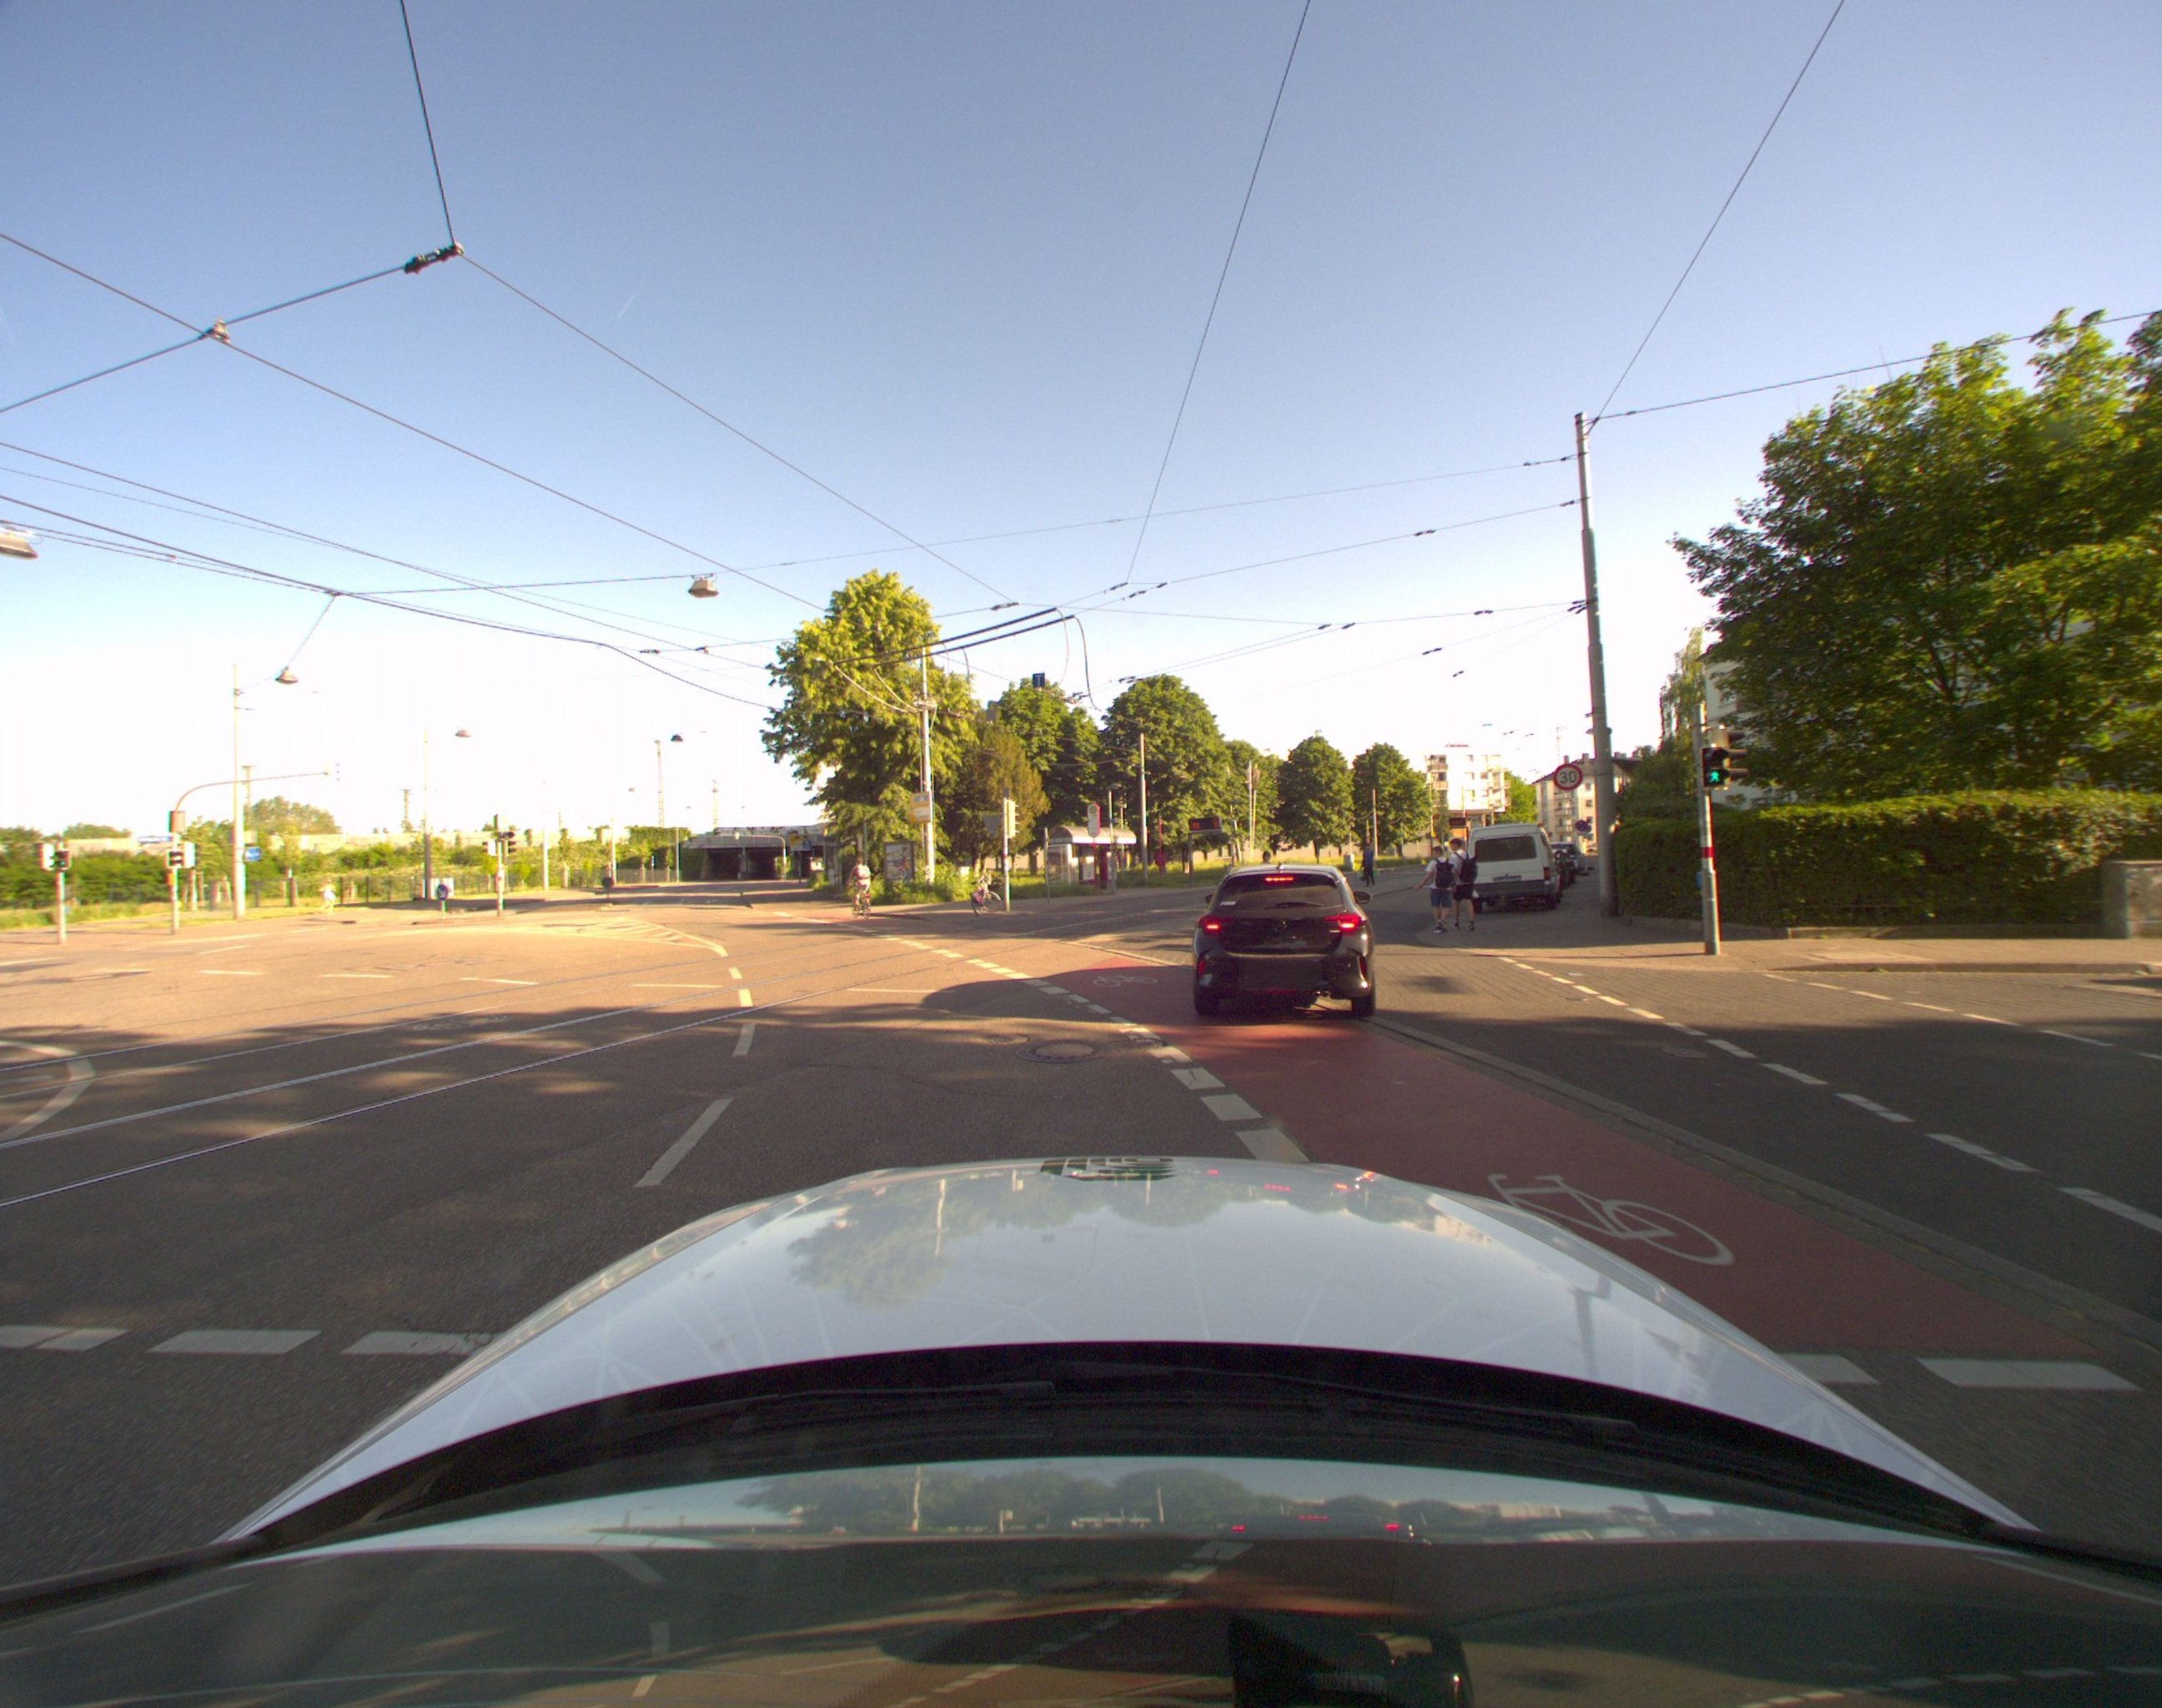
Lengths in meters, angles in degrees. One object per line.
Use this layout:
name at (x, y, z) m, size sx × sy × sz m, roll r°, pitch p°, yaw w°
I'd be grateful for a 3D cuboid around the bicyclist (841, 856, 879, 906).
bicyclist at (-6.913, 0.833, 25.447) m, size 0.845 × 1.510 × 1.356 m, roll -2°, pitch -1°, yaw -27°

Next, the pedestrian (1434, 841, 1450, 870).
pedestrian at (22.475, 0.079, 50.671) m, size 0.672 × 1.793 × 1.002 m, roll -2°, pitch -1°, yaw 34°

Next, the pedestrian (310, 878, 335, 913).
pedestrian at (-35.054, 1.897, 37.660) m, size 0.600 × 1.596 × 0.681 m, roll 0°, pitch -1°, yaw -17°

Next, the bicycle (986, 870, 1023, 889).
bicycle at (-4.087, 1.357, 43.494) m, size 1.863 × 0.906 × 0.662 m, roll -2°, pitch -1°, yaw 15°

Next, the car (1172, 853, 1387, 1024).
car at (2.225, 0.754, 9.060) m, size 1.787 × 1.441 × 3.956 m, roll -2°, pitch 0°, yaw 15°

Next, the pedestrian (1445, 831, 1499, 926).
pedestrian at (7.876, 0.487, 16.411) m, size 0.704 × 1.846 × 0.696 m, roll -2°, pitch -1°, yaw -42°

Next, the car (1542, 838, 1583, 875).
car at (27.031, 0.104, 45.663) m, size 1.783 × 1.927 × 3.965 m, roll -2°, pitch -1°, yaw 32°

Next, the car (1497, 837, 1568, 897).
car at (14.617, 0.377, 26.271) m, size 1.783 × 1.763 × 3.916 m, roll -2°, pitch 0°, yaw 31°

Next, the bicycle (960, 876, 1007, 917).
bicycle at (-2.855, 1.234, 24.038) m, size 0.820 × 1.059 × 1.888 m, roll -2°, pitch 0°, yaw 11°

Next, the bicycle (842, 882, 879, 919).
bicycle at (-6.878, 1.410, 25.345) m, size 0.671 × 1.059 × 2.063 m, roll -2°, pitch 0°, yaw -28°

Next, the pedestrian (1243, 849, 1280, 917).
pedestrian at (4.602, 0.724, 20.772) m, size 0.719 × 1.693 × 0.705 m, roll -2°, pitch -1°, yaw 25°

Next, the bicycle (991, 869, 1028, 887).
bicycle at (-3.880, 1.303, 44.449) m, size 1.863 × 0.906 × 0.662 m, roll -2°, pitch -1°, yaw 15°

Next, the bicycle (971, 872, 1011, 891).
bicycle at (-4.592, 1.415, 41.685) m, size 1.863 × 0.906 × 0.662 m, roll -2°, pitch -1°, yaw 15°

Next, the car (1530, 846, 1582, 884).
car at (20.408, 0.455, 35.057) m, size 1.783 × 1.476 × 3.964 m, roll -2°, pitch 0°, yaw 30°

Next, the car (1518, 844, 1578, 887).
car at (17.659, 0.416, 30.817) m, size 1.783 × 1.476 × 3.964 m, roll -2°, pitch 0°, yaw 30°

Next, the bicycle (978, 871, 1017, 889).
bicycle at (-4.358, 1.365, 42.650) m, size 1.863 × 0.906 × 0.662 m, roll -2°, pitch -1°, yaw 15°

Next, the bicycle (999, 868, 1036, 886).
bicycle at (-3.538, 1.288, 45.297) m, size 1.863 × 0.906 × 0.662 m, roll -2°, pitch -1°, yaw 15°

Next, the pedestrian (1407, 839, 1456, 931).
pedestrian at (7.054, 0.617, 16.406) m, size 0.694 × 1.792 × 0.619 m, roll -2°, pitch -1°, yaw 8°

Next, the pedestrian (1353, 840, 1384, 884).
pedestrian at (12.045, 0.323, 34.069) m, size 0.949 × 1.793 × 1.002 m, roll -2°, pitch -1°, yaw 34°

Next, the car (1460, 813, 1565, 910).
car at (11.495, 0.212, 21.546) m, size 2.069 × 2.278 × 4.333 m, roll -1°, pitch -1°, yaw 32°
